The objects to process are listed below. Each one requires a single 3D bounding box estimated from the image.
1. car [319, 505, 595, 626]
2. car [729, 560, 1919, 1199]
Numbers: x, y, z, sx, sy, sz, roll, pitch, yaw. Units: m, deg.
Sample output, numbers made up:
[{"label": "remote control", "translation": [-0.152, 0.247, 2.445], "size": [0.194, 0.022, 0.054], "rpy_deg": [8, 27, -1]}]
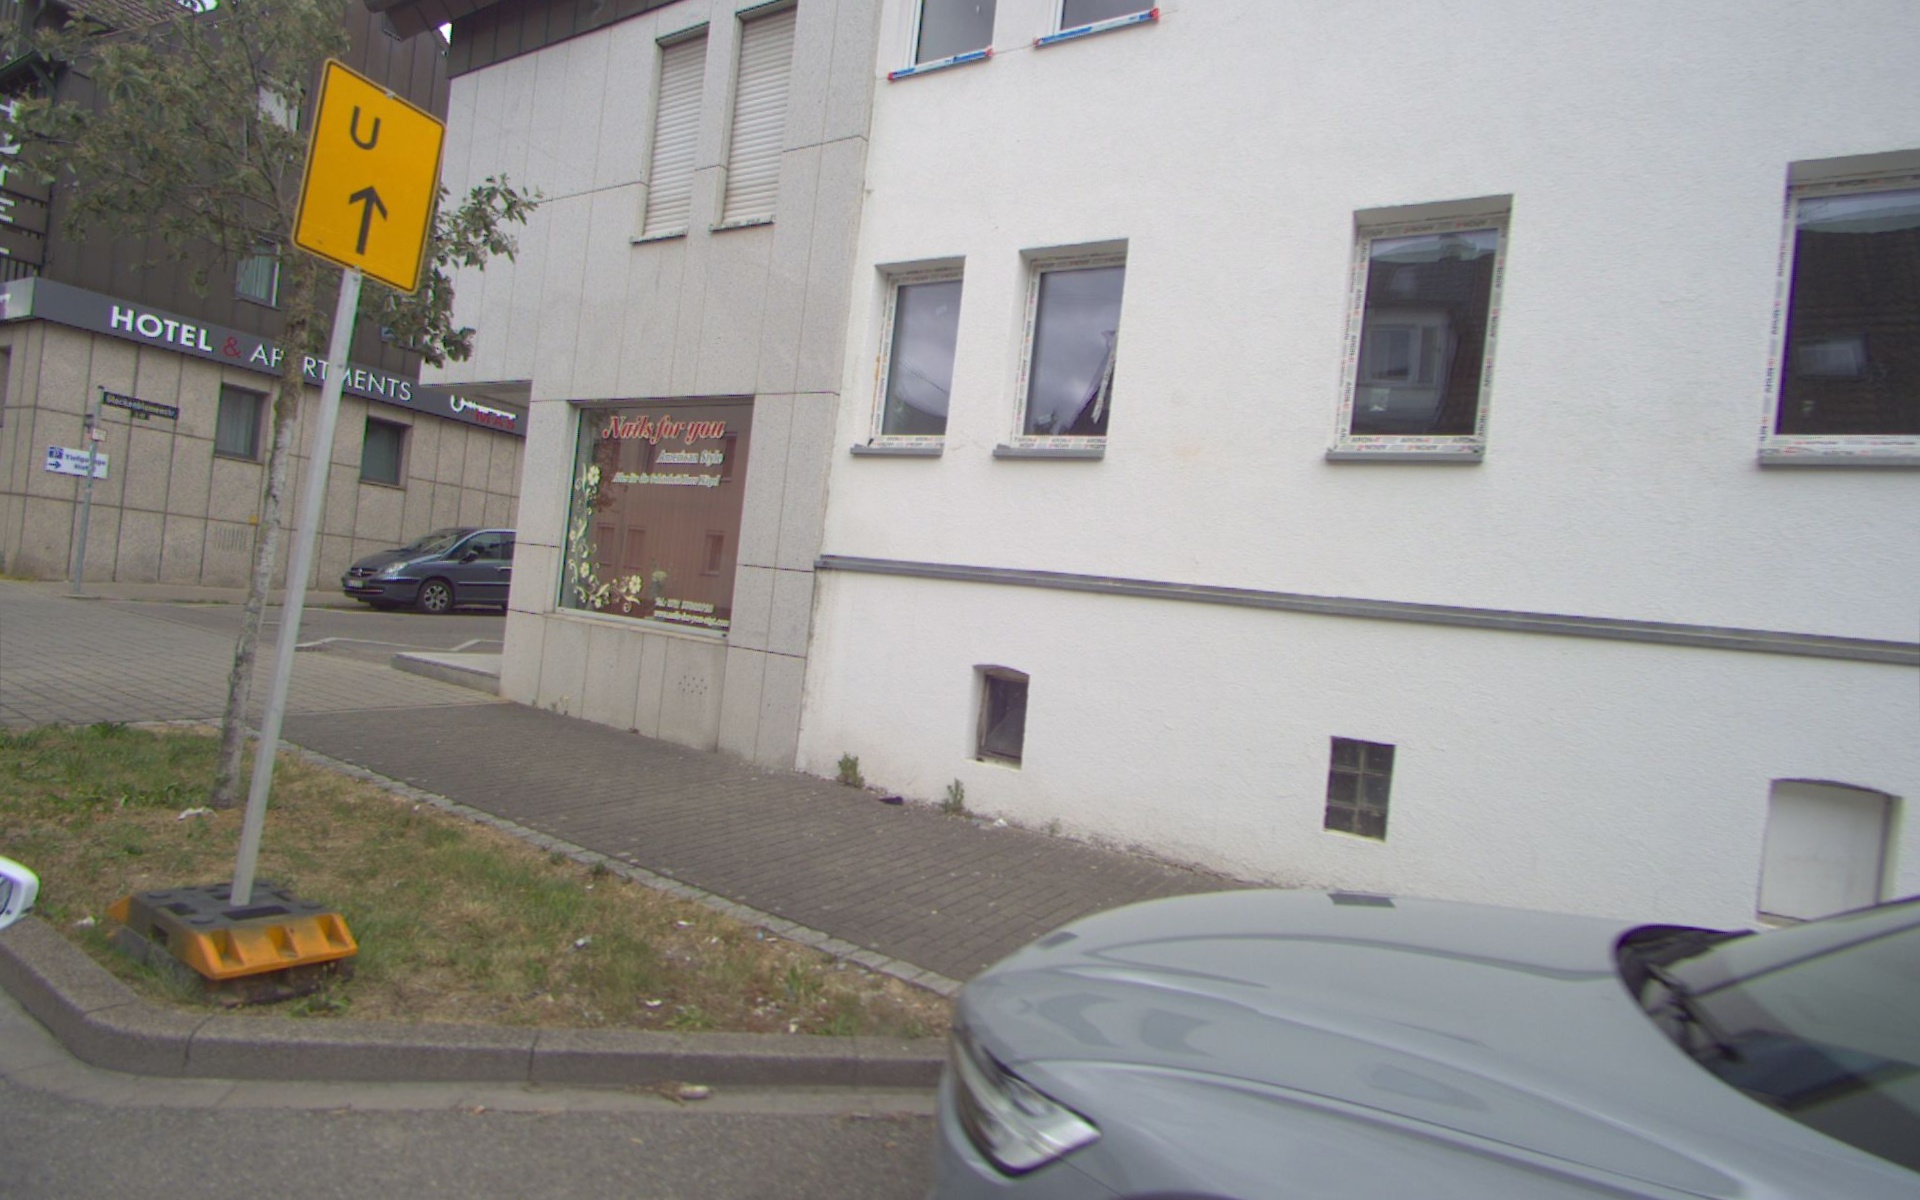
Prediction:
[{"label": "car", "translation": [-9.732, -0.595, 19.860], "size": [1.897, 1.890, 4.486], "rpy_deg": [6, 1, 30]}, {"label": "car", "translation": [2.018, 1.000, 1.219], "size": [4.438, 1.557, 1.879], "rpy_deg": [6, -2, 32]}]
